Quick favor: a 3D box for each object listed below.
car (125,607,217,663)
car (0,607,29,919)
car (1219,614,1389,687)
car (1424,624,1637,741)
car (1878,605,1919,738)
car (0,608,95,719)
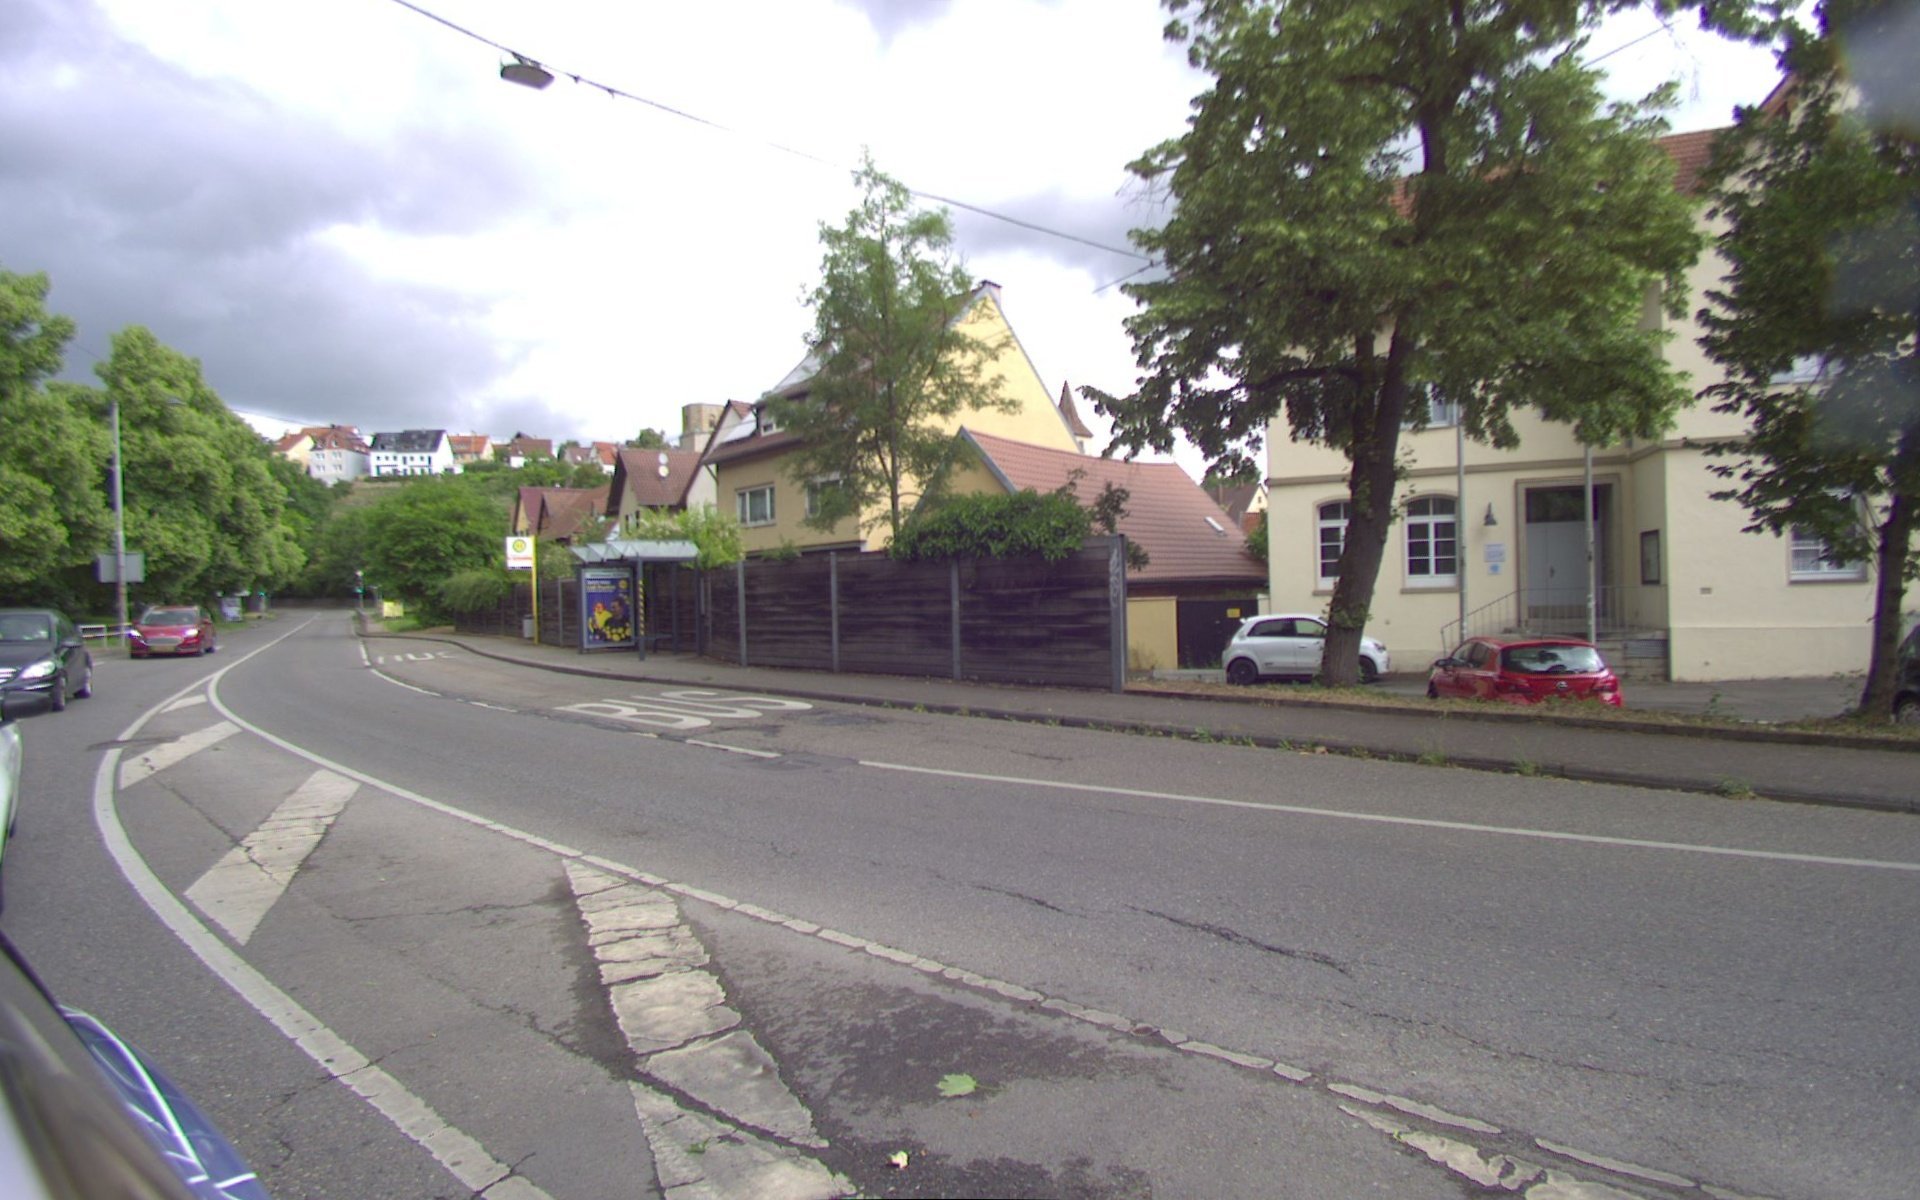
[{"bbox_3d":[-25.893,1.099,33.330,1.798,1.685,4.070,-1,0,-30],"label":"car"},{"bbox_3d":[-6.033,0.819,5.272,1.594,1.525,3.610,-1,0,-41],"label":"car"},{"bbox_3d":[7.744,1.110,22.922,3.487,1.528,1.581,-1,0,20],"label":"car"},{"bbox_3d":[8.124,1.106,14.766,1.590,1.389,3.544,-1,0,10],"label":"car"},{"bbox_3d":[12.697,0.890,11.583,1.586,1.644,3.093,-1,0,2],"label":"car"},{"bbox_3d":[-14.936,0.932,15.850,1.697,1.559,3.791,-1,0,-35],"label":"car"}]
